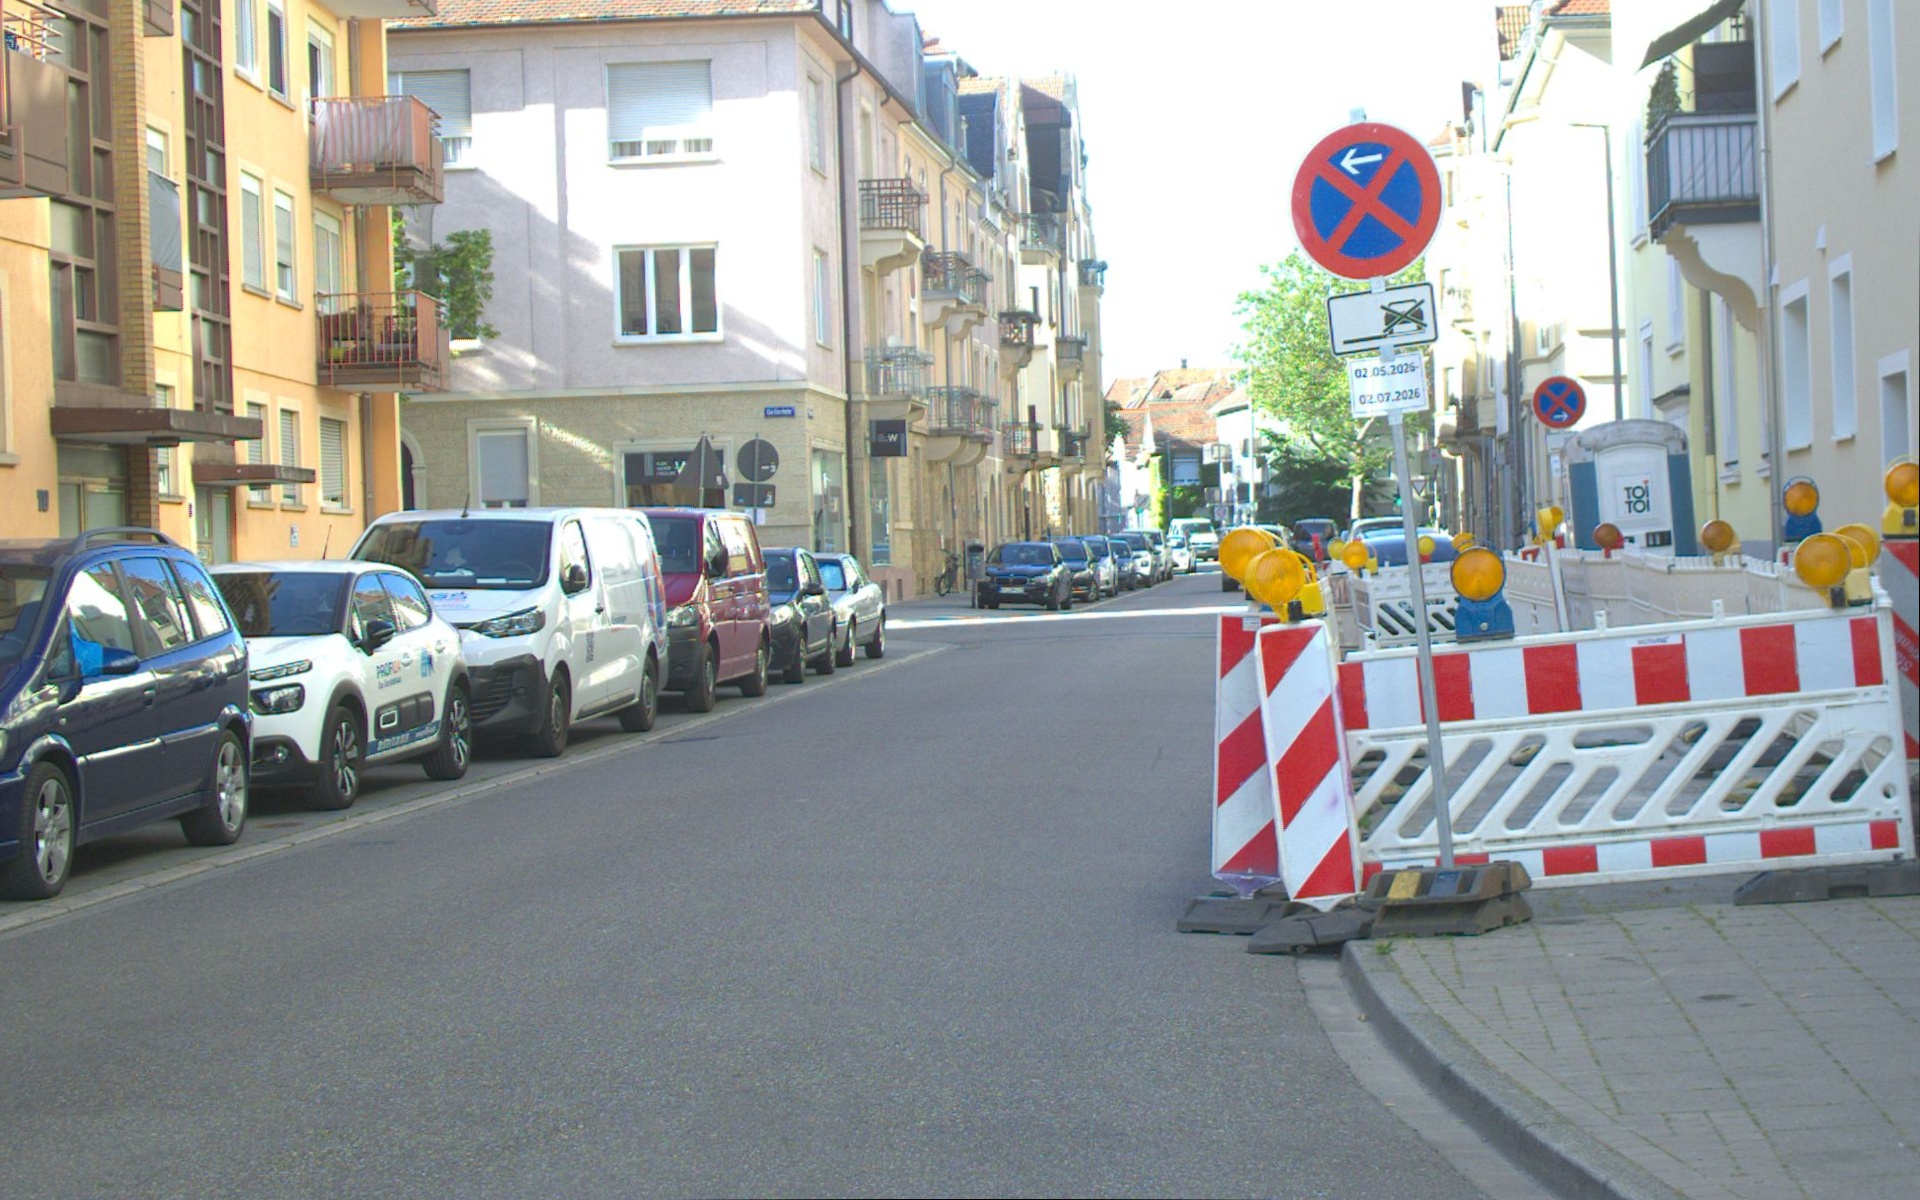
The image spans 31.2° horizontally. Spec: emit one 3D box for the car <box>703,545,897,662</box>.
[{"bbox_3d":[-1.996,0.006,44.238,1.763,1.373,4.477,-1,1,7],"label":"car"}]

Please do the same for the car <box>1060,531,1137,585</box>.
[{"bbox_3d":[3.991,-1.191,98.330,1.979,1.477,4.327,0,0,5],"label":"car"}]

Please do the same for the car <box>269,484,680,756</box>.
[{"bbox_3d":[-3.708,0.090,27.340,1.976,1.918,5.308,-1,1,6],"label":"car"}]

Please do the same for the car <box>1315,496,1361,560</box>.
[{"bbox_3d":[16.352,-3.091,148.574,1.839,2.525,4.174,-3,-1,7],"label":"car"}]

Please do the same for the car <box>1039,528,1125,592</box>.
[{"bbox_3d":[3.208,-1.034,89.619,2.004,1.613,4.486,0,0,5],"label":"car"}]

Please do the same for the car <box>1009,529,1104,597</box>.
[{"bbox_3d":[2.343,-0.892,82.547,2.004,1.577,4.486,0,0,5],"label":"car"}]

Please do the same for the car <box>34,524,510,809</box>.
[{"bbox_3d":[-4.256,0.344,21.990,1.763,1.615,4.294,-1,1,6],"label":"car"}]

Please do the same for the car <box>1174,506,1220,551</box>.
[{"bbox_3d":[11.004,-3.308,159.528,2.004,1.993,4.486,0,0,5],"label":"car"}]

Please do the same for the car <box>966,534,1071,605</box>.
[{"bbox_3d":[1.249,-0.637,71.706,1.680,1.421,4.272,0,0,8],"label":"car"}]

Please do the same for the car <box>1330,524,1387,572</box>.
[{"bbox_3d":[13.671,-1.768,117.991,1.839,1.427,4.027,-3,-1,7],"label":"car"}]

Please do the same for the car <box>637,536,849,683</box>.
[{"bbox_3d":[-2.402,0.071,39.029,1.763,1.497,4.000,-3,1,5],"label":"car"}]

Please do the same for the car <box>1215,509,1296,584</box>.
[{"bbox_3d":[7.756,-1.396,90.031,2.004,1.907,4.486,0,0,6],"label":"car"}]

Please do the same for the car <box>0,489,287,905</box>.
[{"bbox_3d":[-4.764,0.386,16.608,1.763,1.765,4.293,-1,1,6],"label":"car"}]

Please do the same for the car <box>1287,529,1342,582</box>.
[{"bbox_3d":[13.507,-1.682,131.163,2.004,1.993,4.486,0,0,5],"label":"car"}]

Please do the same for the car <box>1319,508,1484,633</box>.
[{"bbox_3d":[5.842,-0.420,45.884,1.763,1.466,4.084,-4,1,3],"label":"car"}]

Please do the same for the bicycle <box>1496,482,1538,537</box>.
[{"bbox_3d":[12.872,-2.083,79.493,0.761,1.242,2.591,-2,1,6],"label":"bicycle"}]

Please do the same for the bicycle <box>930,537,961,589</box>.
[{"bbox_3d":[-0.366,-0.955,87.806,0.541,1.297,1.866,-1,1,7],"label":"bicycle"}]

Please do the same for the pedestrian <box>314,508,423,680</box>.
[{"bbox_3d":[-6.358,-0.067,36.995,0.924,1.811,0.995,-1,1,3],"label":"pedestrian"}]

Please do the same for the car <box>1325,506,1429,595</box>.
[{"bbox_3d":[8.586,-0.986,70.573,1.914,1.639,4.771,-3,-1,8],"label":"car"}]

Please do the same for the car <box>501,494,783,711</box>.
[{"bbox_3d":[-2.989,-0.028,33.326,1.763,1.918,4.934,-1,1,6],"label":"car"}]

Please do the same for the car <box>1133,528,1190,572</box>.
[{"bbox_3d":[7.572,-1.868,128.863,2.004,1.600,4.486,0,0,5],"label":"car"}]

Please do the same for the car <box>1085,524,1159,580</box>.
[{"bbox_3d":[4.877,-1.422,103.011,2.004,1.613,4.486,0,0,5],"label":"car"}]
